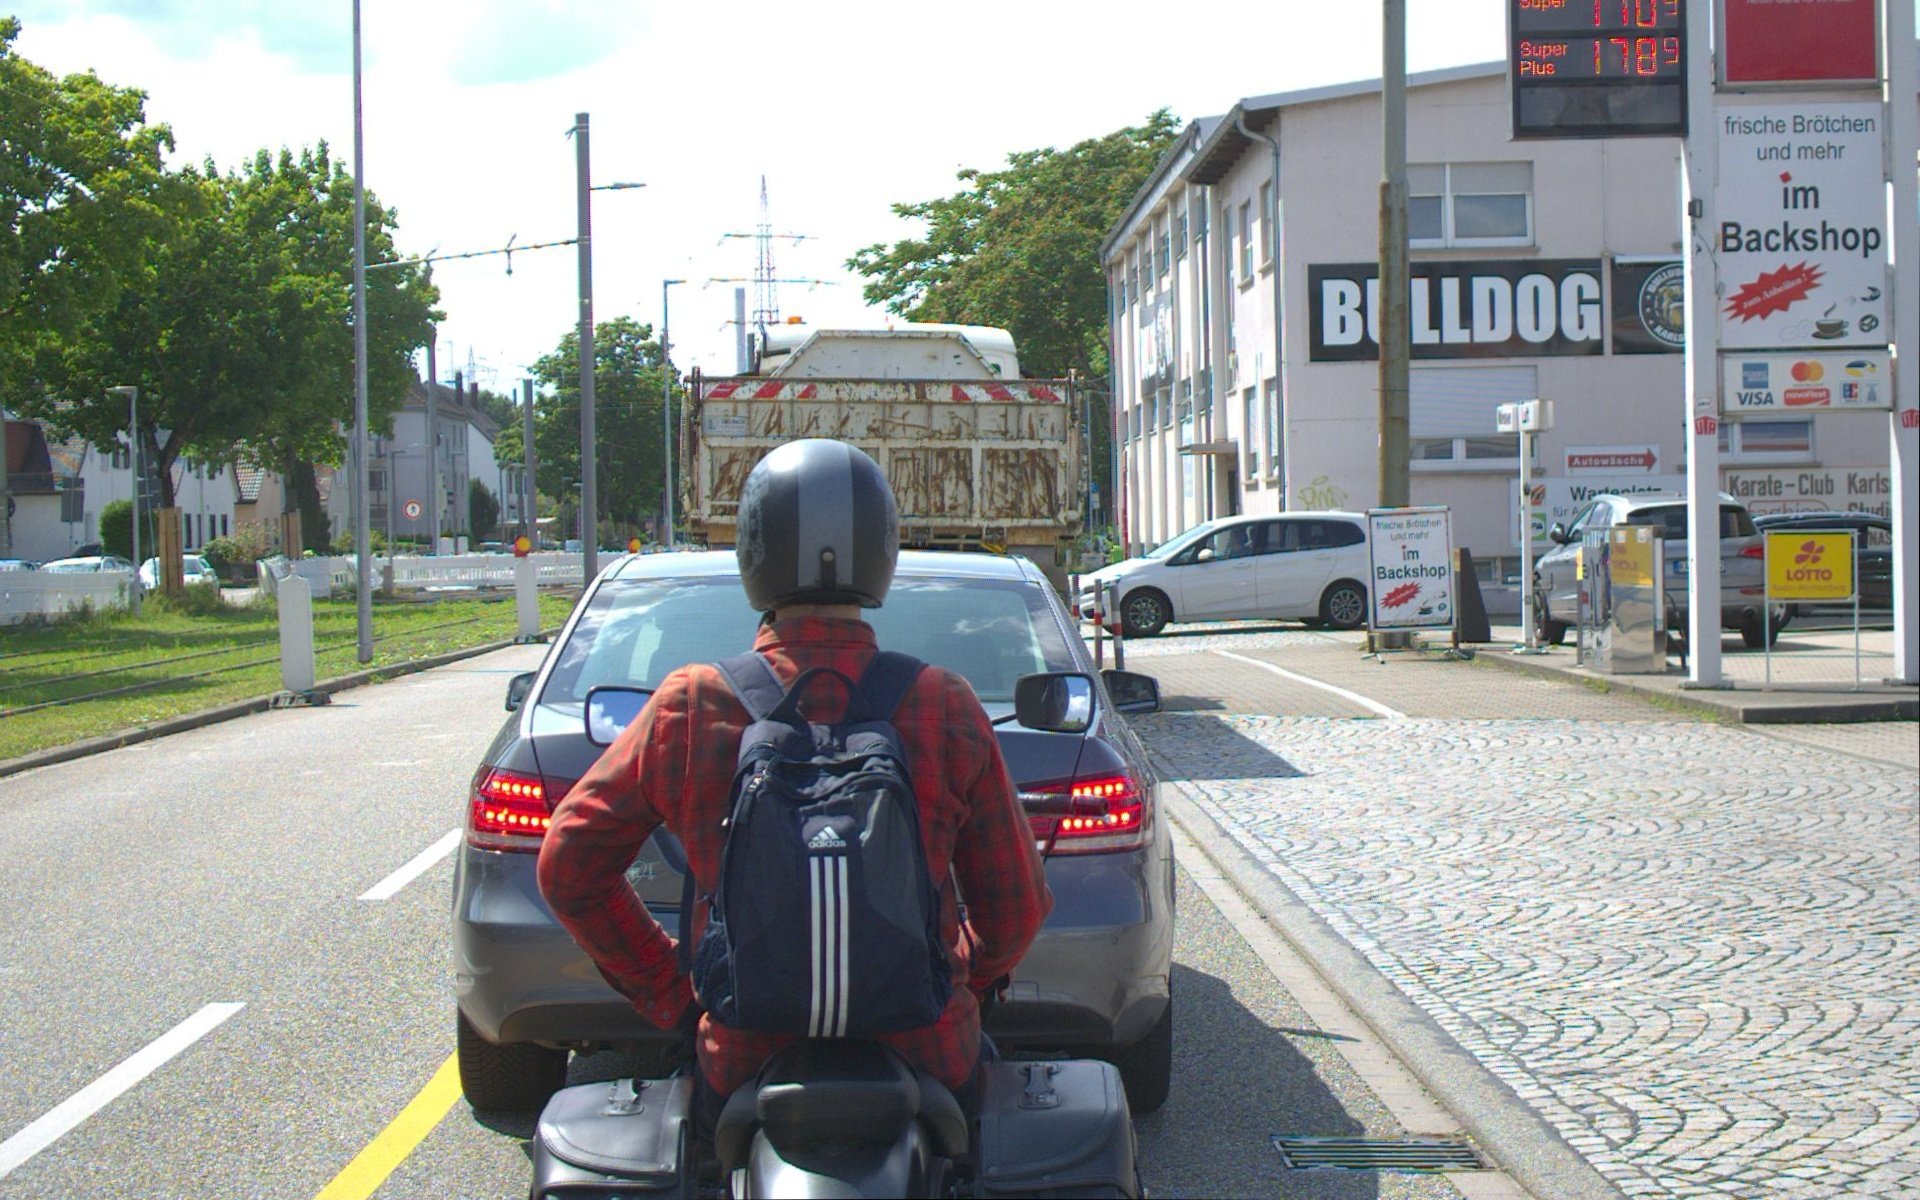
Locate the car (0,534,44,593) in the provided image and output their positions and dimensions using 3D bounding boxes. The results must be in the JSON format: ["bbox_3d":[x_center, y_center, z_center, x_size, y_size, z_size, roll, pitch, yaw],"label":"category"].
[{"bbox_3d":[-29.264,-1.109,104.588,1.698,1.733,4.062,-1,1,0],"label":"car"}]

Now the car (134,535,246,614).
[{"bbox_3d":[-17.835,-0.621,79.771,1.698,1.733,3.860,-1,1,0],"label":"car"}]

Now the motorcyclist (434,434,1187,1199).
[{"bbox_3d":[-0.205,0.590,5.085,0.969,1.627,1.215,1,1,-1],"label":"motorcyclist"}]

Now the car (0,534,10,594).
[{"bbox_3d":[-28.669,-0.998,98.578,1.698,1.733,4.062,-1,1,0],"label":"car"}]

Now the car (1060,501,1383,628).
[{"bbox_3d":[3.551,-0.500,47.031,4.104,1.619,1.686,-1,1,-8],"label":"car"}]

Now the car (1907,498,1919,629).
[{"bbox_3d":[11.789,-0.401,37.243,1.832,1.474,4.010,-1,1,-2],"label":"car"}]

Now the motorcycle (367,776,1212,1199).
[{"bbox_3d":[-0.215,0.865,5.208,0.976,1.010,2.432,1,1,-1],"label":"motorcycle"}]

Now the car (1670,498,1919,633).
[{"bbox_3d":[11.211,-0.463,43.534,4.105,1.619,1.686,-1,1,2],"label":"car"}]

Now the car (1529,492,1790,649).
[{"bbox_3d":[7.382,-0.342,36.646,1.832,1.530,4.010,-1,1,-2],"label":"car"}]

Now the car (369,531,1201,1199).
[{"bbox_3d":[-0.447,0.568,9.736,1.832,1.474,4.010,-1,1,-2],"label":"car"}]

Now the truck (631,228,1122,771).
[{"bbox_3d":[-0.633,-0.714,25.468,2.970,3.293,8.408,-1,1,-2],"label":"truck"}]
